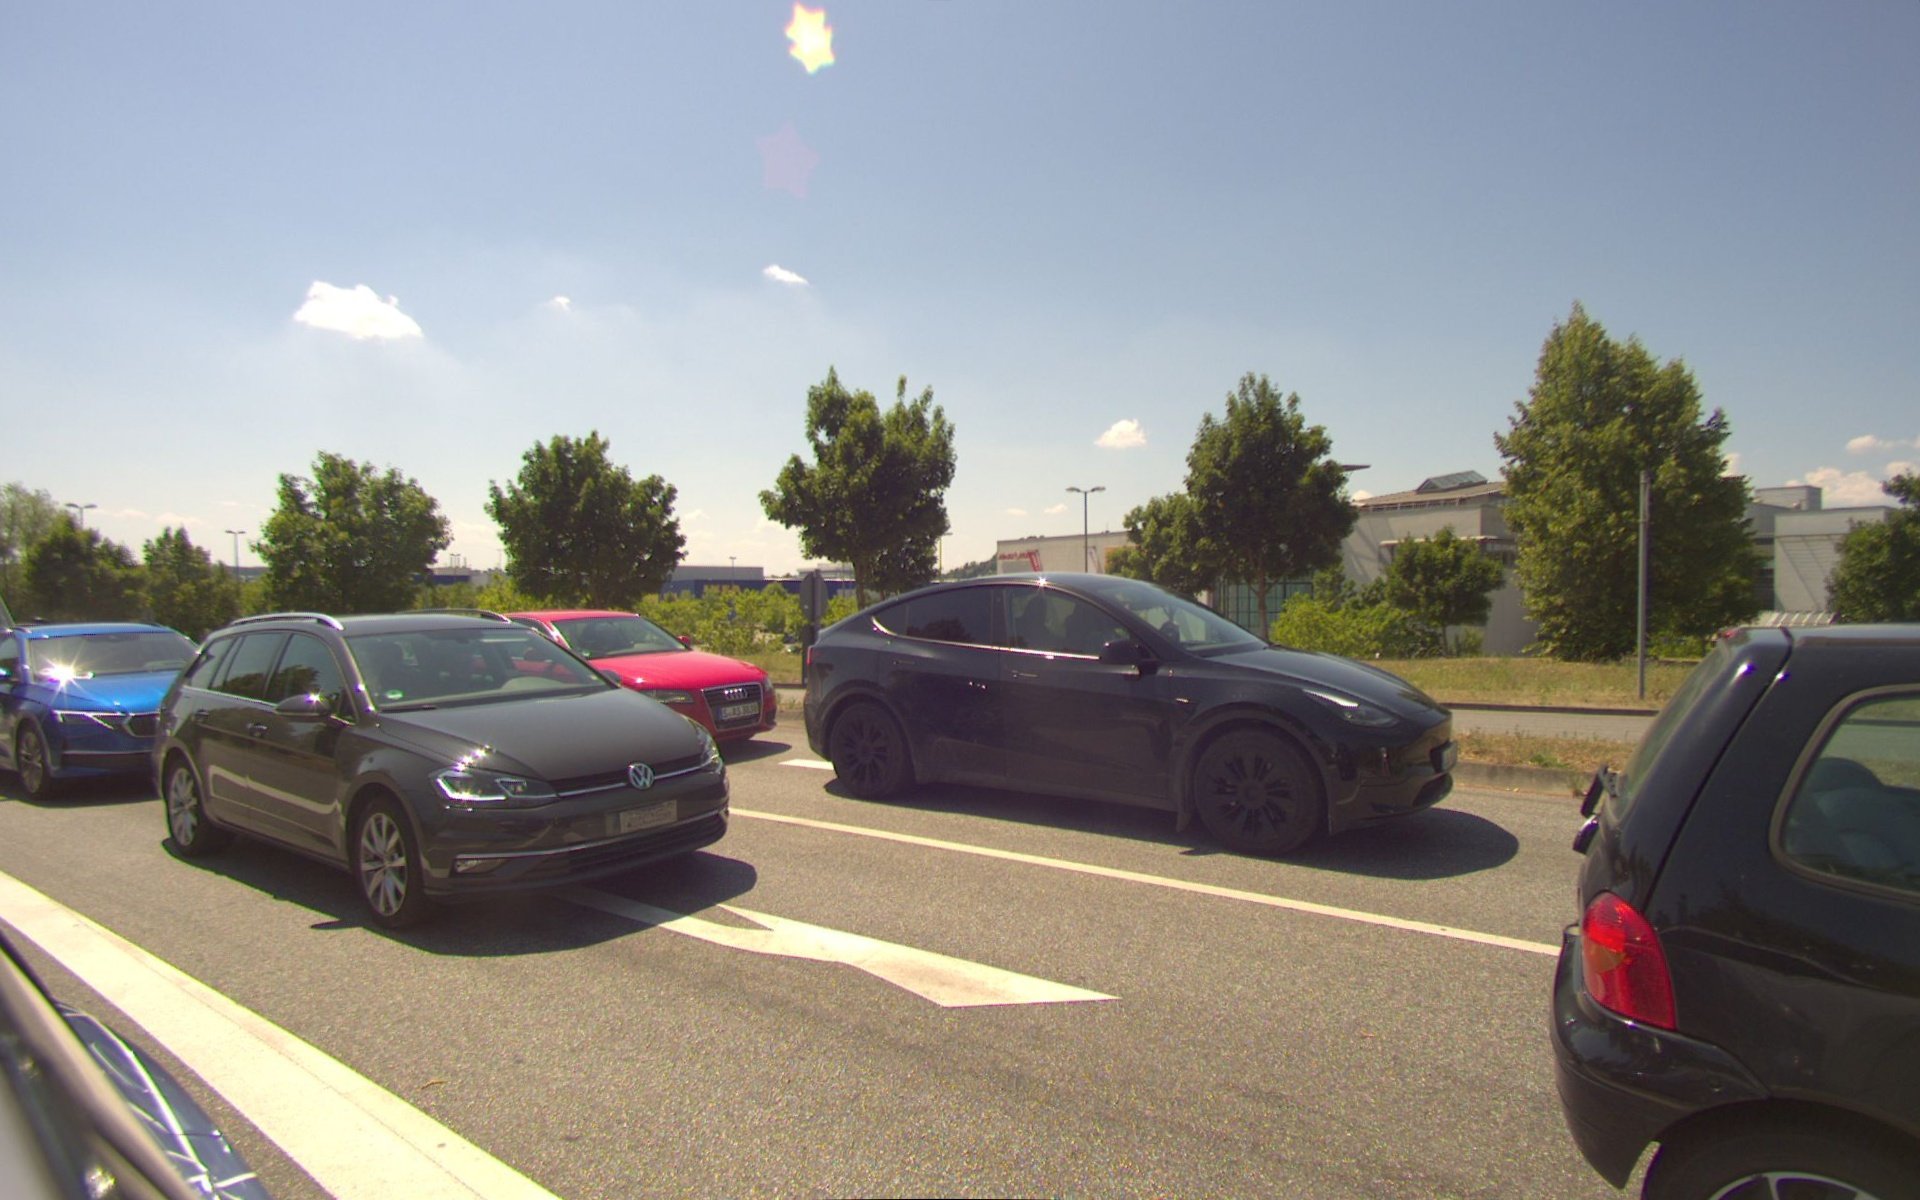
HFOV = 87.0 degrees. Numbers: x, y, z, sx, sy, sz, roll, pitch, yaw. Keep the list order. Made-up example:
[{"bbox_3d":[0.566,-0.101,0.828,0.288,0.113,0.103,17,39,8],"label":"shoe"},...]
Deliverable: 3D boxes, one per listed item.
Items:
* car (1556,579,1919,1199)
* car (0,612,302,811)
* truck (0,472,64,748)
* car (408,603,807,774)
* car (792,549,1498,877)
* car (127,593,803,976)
[{"bbox_3d":[2.892,0.665,1.511,3.295,1.418,1.604,-1,0,37],"label":"car"},{"bbox_3d":[-8.333,0.937,9.655,4.474,1.473,1.695,-2,0,32],"label":"car"},{"bbox_3d":[-15.122,0.268,13.732,7.176,3.373,2.390,-3,-1,31],"label":"truck"},{"bbox_3d":[-3.781,0.774,10.498,4.440,1.399,1.646,-1,1,36],"label":"car"},{"bbox_3d":[1.096,0.576,7.058,4.496,1.613,1.859,-1,0,36],"label":"car"},{"bbox_3d":[-3.141,0.758,6.007,4.420,1.493,1.762,-1,0,36],"label":"car"}]
